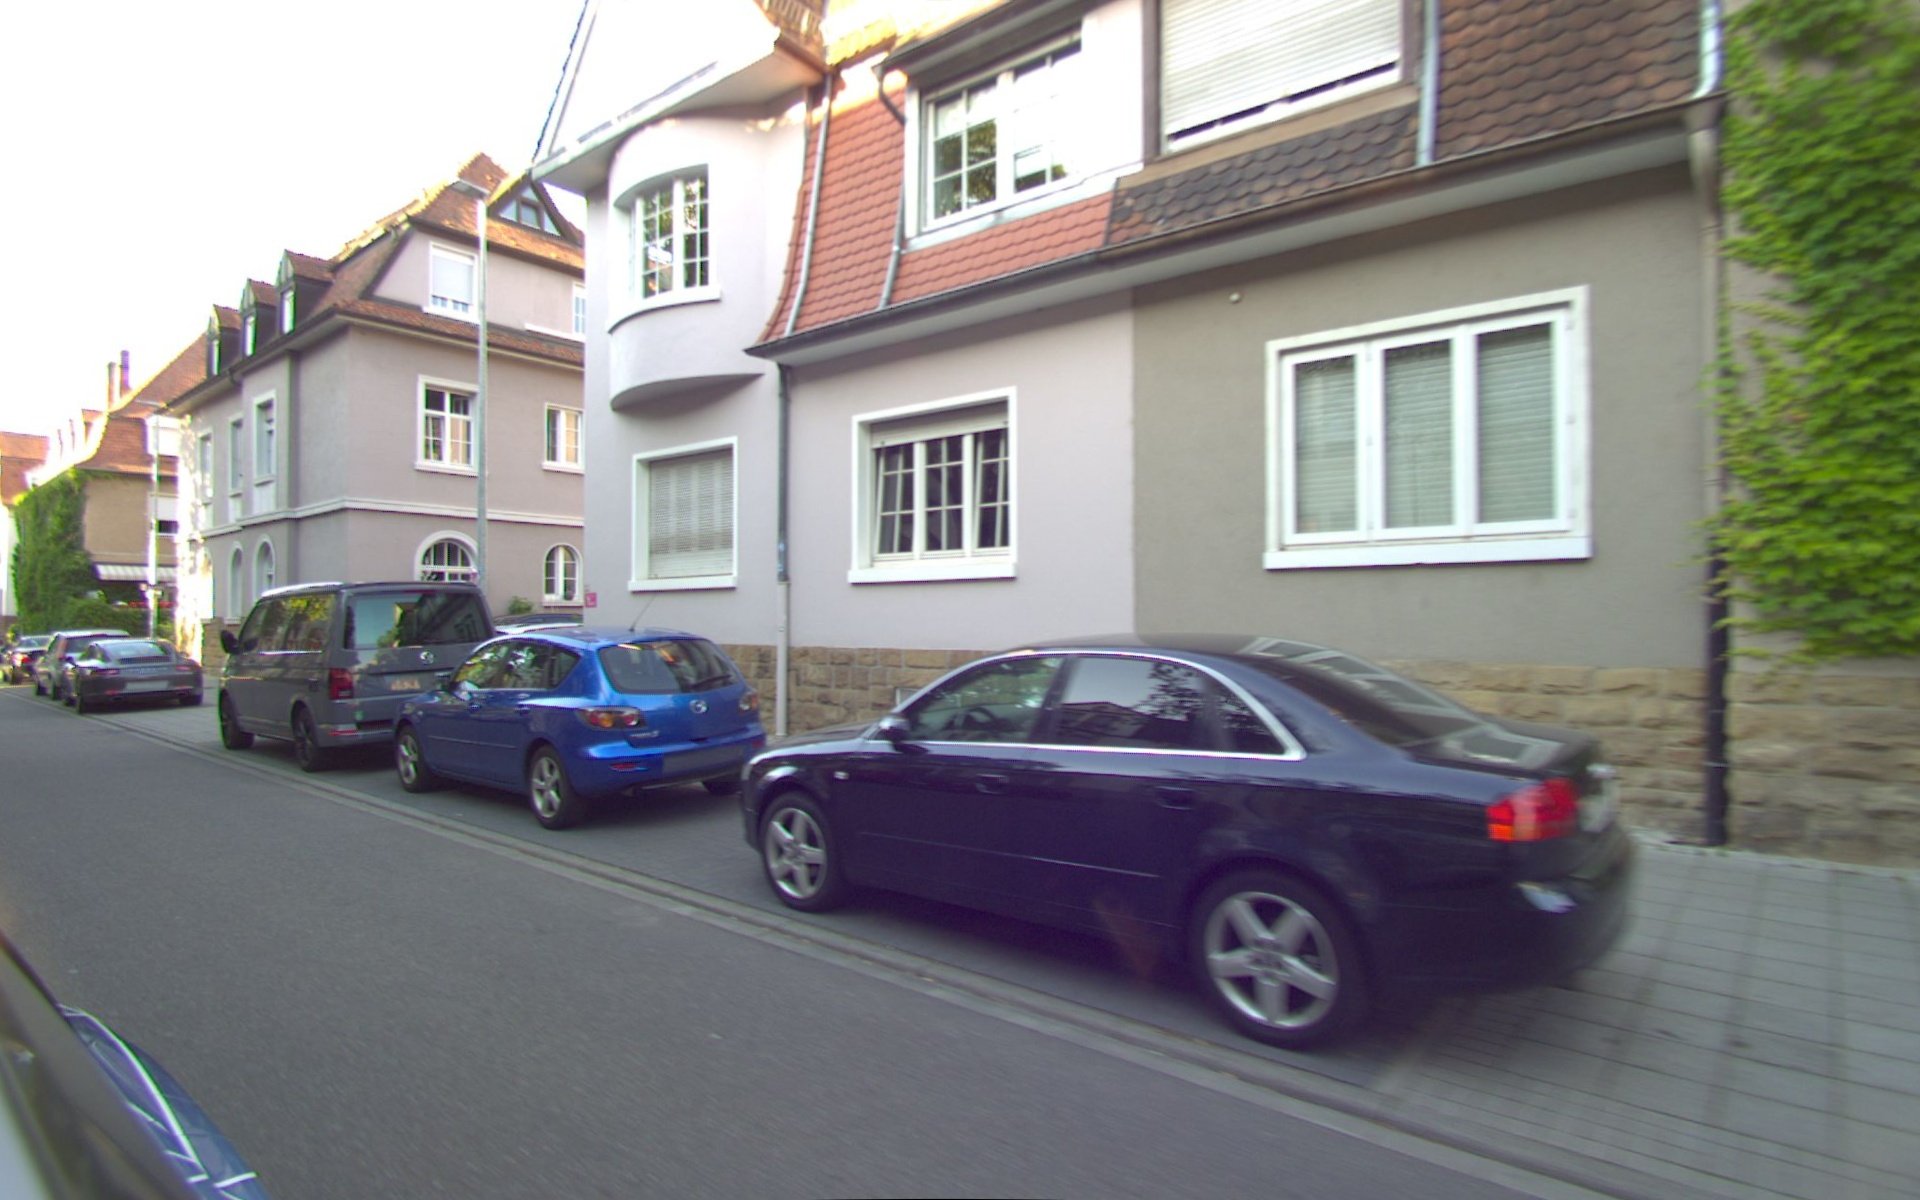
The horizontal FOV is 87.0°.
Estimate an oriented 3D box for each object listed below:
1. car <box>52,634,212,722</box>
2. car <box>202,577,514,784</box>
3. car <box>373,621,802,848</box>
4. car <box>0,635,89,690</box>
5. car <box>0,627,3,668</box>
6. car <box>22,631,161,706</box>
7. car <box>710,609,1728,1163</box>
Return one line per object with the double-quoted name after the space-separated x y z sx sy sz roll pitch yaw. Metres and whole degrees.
-15.827 1.396 19.277 4.063 1.394 1.906 -2 0 44 "car"
-7.236 0.810 11.950 4.610 1.990 1.819 -2 0 41 "car"
-3.365 0.957 8.756 4.060 1.457 1.745 -2 0 41 "car"
-25.939 1.703 28.544 3.676 1.372 1.640 -2 0 42 "car"
-39.254 1.914 40.082 3.676 1.579 1.677 -2 0 42 "car"
-19.819 1.480 23.033 4.061 1.478 1.907 -2 0 42 "car"
0.854 0.830 4.888 4.426 1.457 1.783 -2 0 41 "car"
